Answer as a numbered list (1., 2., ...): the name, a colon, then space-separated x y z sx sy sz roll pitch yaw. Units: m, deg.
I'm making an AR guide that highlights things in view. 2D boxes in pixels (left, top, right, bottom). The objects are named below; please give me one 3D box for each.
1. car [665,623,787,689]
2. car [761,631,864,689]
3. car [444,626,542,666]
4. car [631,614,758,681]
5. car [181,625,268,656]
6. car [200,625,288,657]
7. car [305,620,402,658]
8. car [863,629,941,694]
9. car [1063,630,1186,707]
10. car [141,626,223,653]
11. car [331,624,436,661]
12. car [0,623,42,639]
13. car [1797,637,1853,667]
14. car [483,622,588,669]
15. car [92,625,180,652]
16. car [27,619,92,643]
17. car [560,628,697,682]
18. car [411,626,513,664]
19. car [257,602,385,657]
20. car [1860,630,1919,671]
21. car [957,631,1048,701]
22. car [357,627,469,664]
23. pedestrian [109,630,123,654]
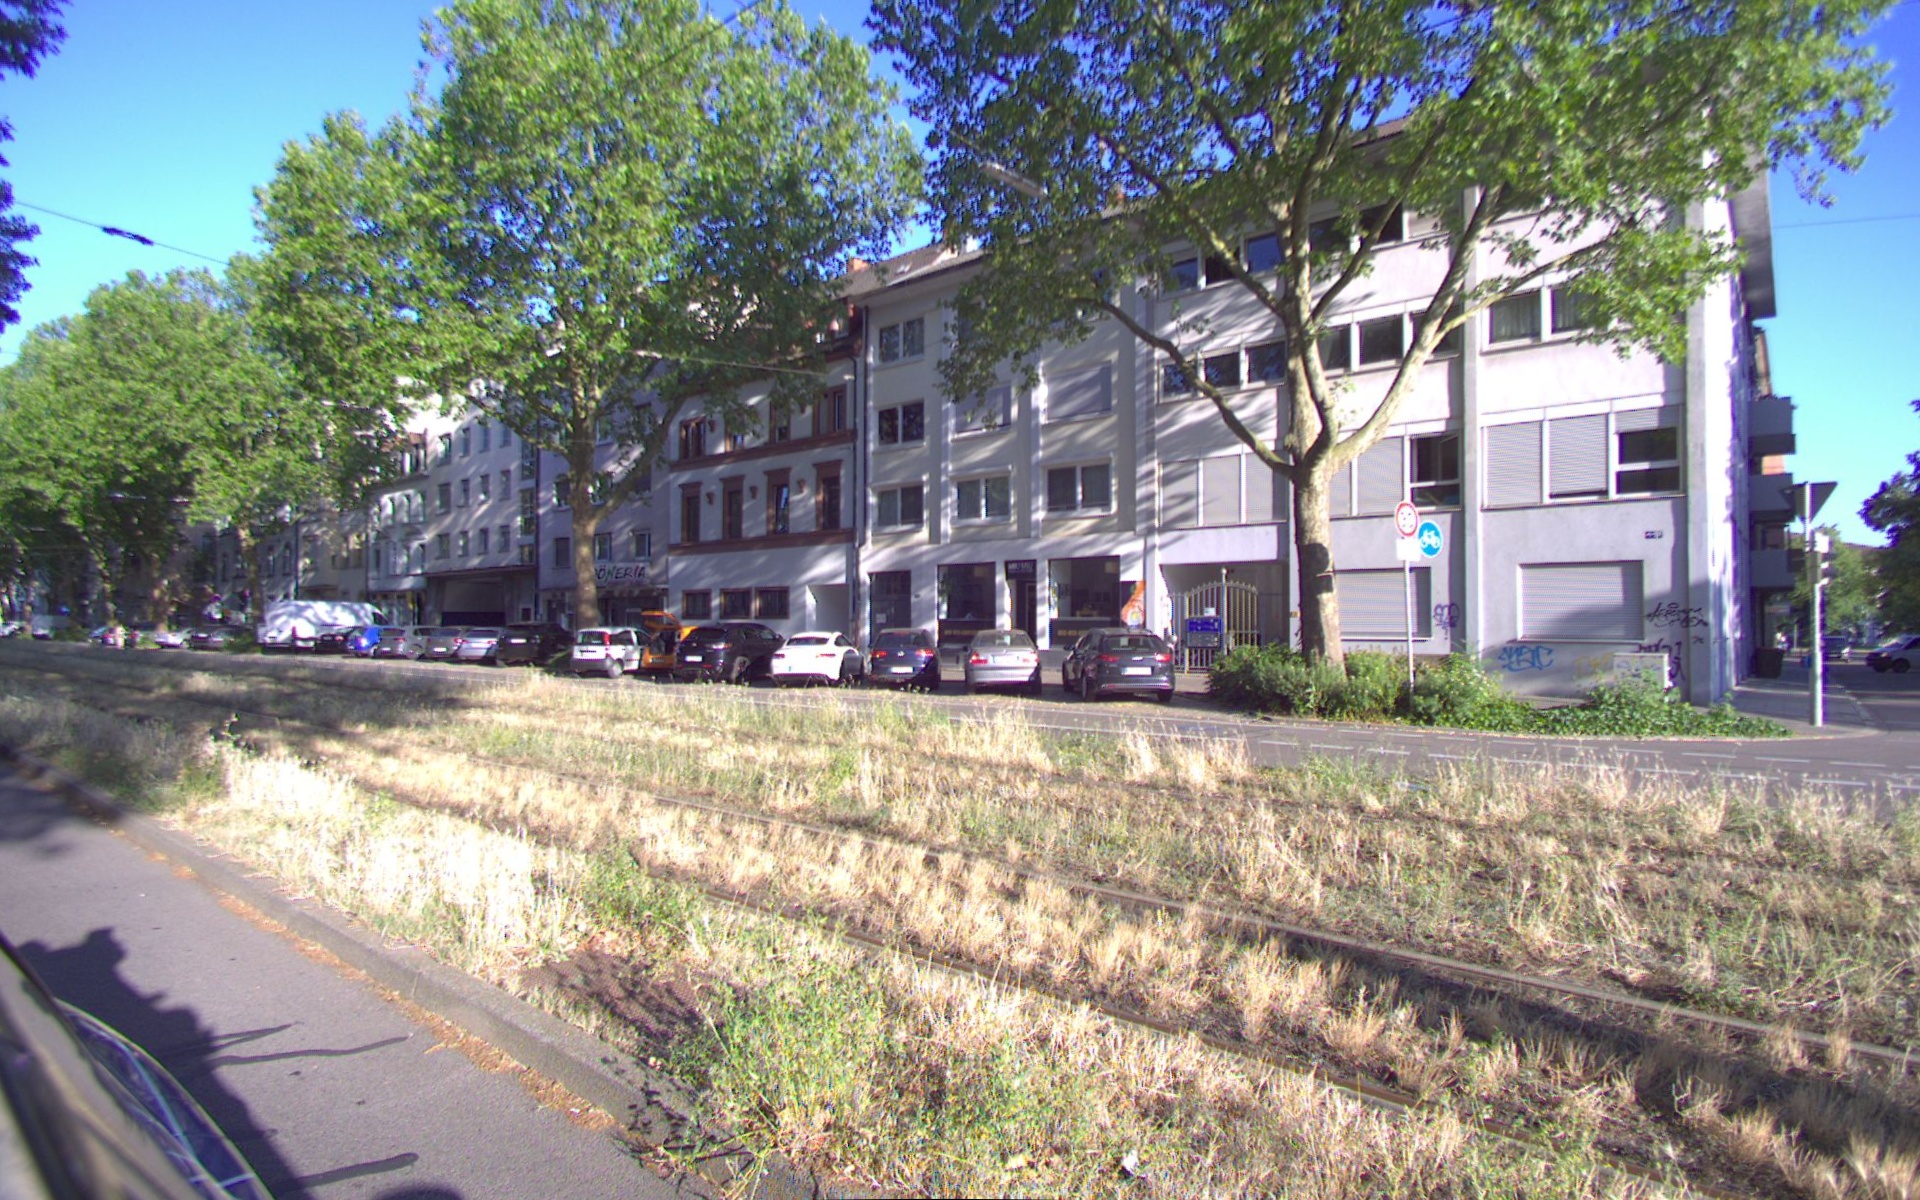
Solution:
1. car: -6.477 1.512 28.515 2.126 1.697 4.250 0 -2 6
2. car: -3.771 1.525 26.630 2.123 1.388 4.257 0 -2 0
3. car: -18.104 1.768 39.461 1.582 1.470 4.251 0 -2 4
4. car: -8.226 1.447 31.748 1.508 1.958 4.221 -1 -2 25
5. car: -45.121 2.442 62.207 1.980 1.830 3.982 0 -2 13
6. car: -42.527 2.387 60.213 1.980 1.830 3.982 0 -2 13
7. car: -30.635 1.969 51.274 1.980 1.830 3.982 0 -2 13
8. car: -1.440 1.494 25.620 1.805 1.516 3.973 0 -2 -2
9. car: 3.320 1.352 21.148 1.746 1.443 3.973 0 -2 -2
10. car: -51.828 2.617 67.523 1.980 1.719 3.982 0 -2 13
11. car: -26.261 1.904 46.221 1.980 1.630 3.982 0 -2 13
12. car: -106.583 3.503 114.435 3.937 1.827 1.876 2 -2 -40
13. car: 62.806 3.721 73.546 1.991 2.029 5.371 -1 -2 29
14. car: -15.460 1.642 37.098 1.882 1.626 4.253 0 -2 3
15. car: -54.676 2.556 67.233 1.996 1.719 4.184 -1 -2 36
16. car: -88.306 3.043 99.359 2.071 2.230 4.943 0 -2 -2
17. car: -10.263 1.665 31.641 1.634 1.569 4.221 -1 -2 25
18. car: -20.441 1.819 41.771 1.883 1.468 4.251 0 -2 4
19. car: -33.064 1.526 52.599 2.161 2.721 5.583 0 -2 16
20. car: 49.318 2.563 51.106 5.379 2.029 1.988 0 -2 18
21. car: 0.886 1.452 23.327 1.717 1.443 3.973 -1 -2 -2
22. car: -23.832 1.957 44.249 1.985 1.530 3.973 0 -2 20
23. pedestrian: -54.782 2.722 65.721 0.422 1.610 0.612 -1 -2 41
